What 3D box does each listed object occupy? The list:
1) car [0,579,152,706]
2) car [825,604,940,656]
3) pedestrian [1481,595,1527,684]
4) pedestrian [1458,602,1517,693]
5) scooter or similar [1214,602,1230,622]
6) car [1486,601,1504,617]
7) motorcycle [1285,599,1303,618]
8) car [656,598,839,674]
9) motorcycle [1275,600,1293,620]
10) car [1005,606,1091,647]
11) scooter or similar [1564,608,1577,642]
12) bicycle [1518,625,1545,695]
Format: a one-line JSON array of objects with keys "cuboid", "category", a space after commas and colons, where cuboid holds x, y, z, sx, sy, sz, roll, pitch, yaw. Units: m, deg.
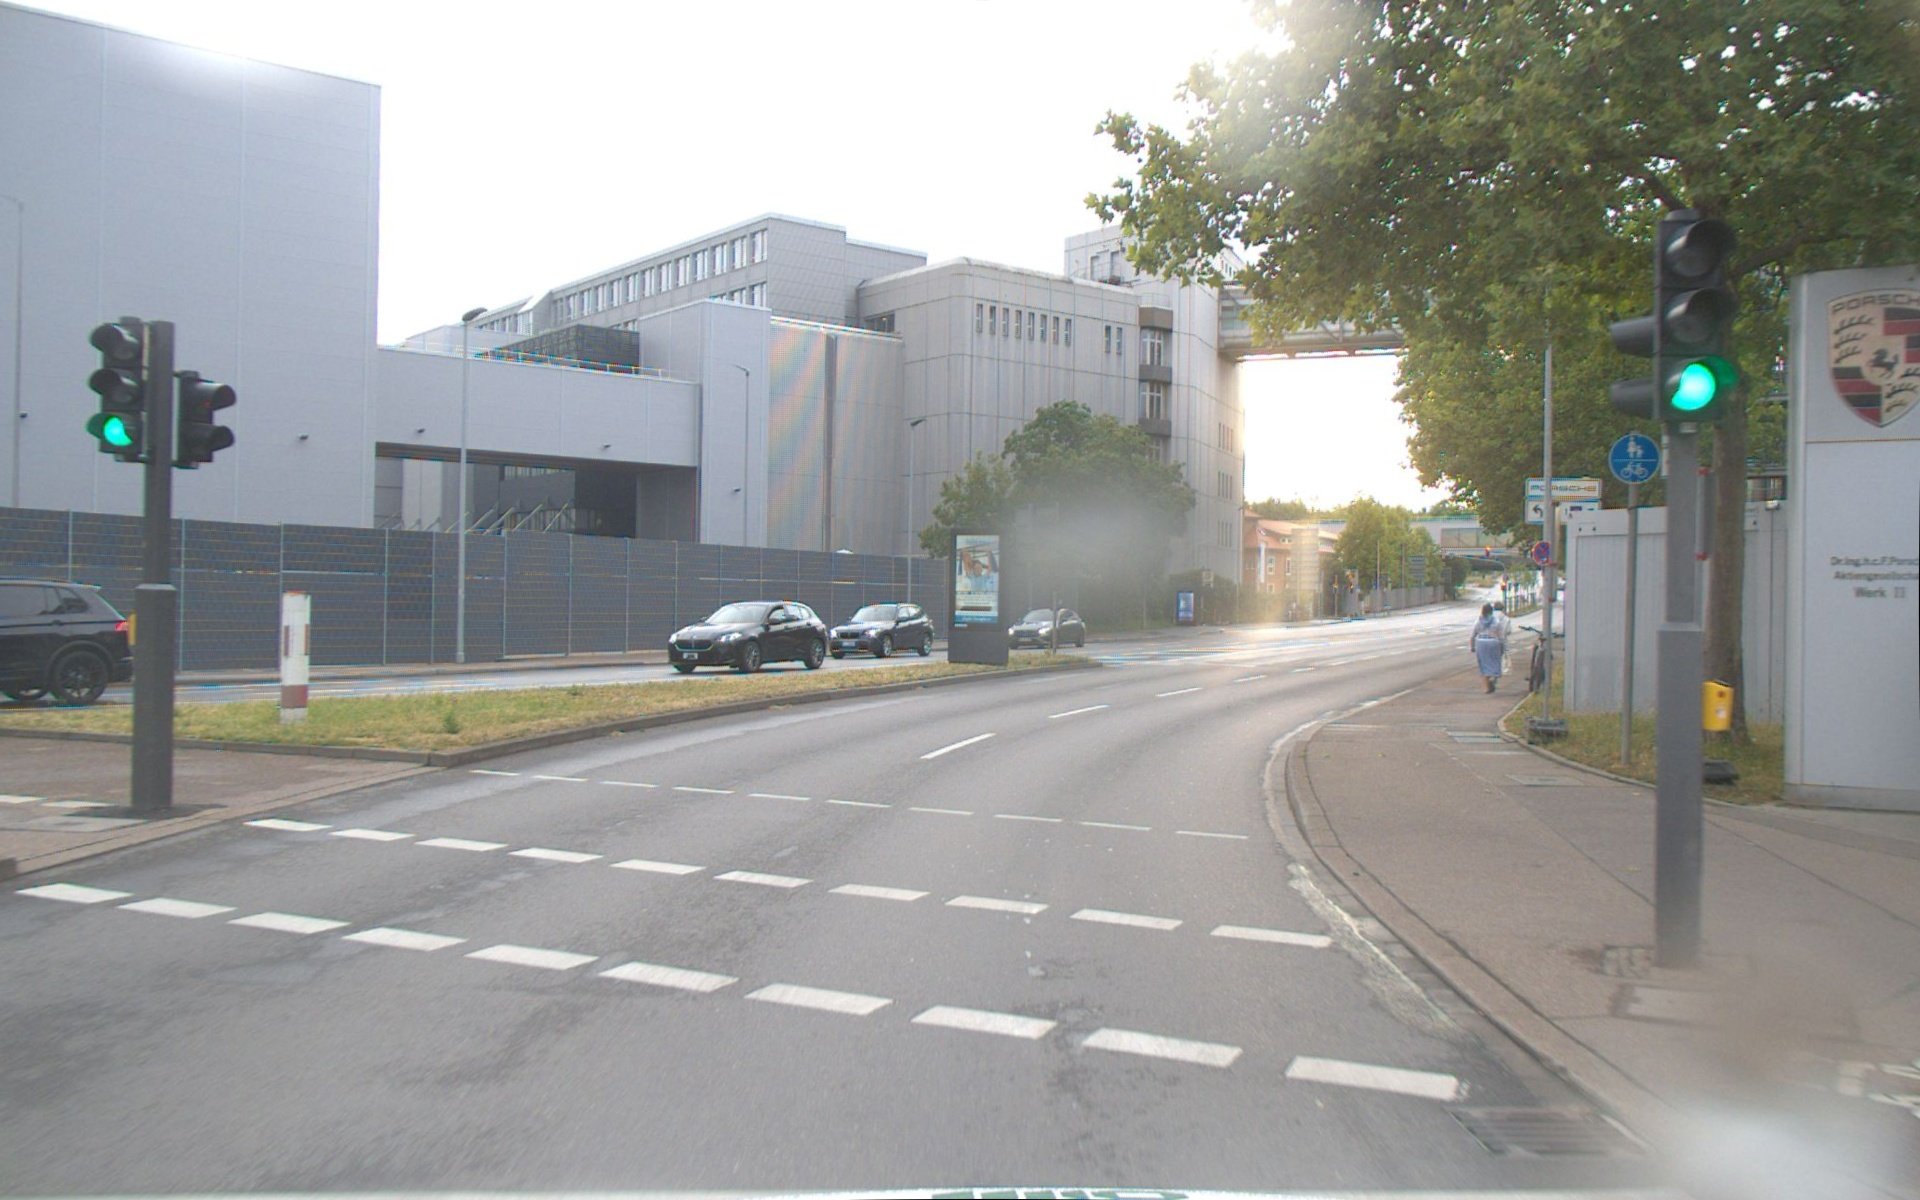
[{"cuboid": [-13.090, 0.529, 21.299, 1.753, 1.616, 4.547, 1, 0, 37], "category": "car"}, {"cuboid": [-2.219, 0.861, 48.709, 1.746, 1.480, 4.561, -1, -1, 21], "category": "car"}, {"cuboid": [10.126, 0.718, 30.774, 0.695, 1.620, 0.839, 1, 0, 27], "category": "pedestrian"}, {"cuboid": [9.204, 0.814, 28.872, 0.816, 1.547, 0.840, 1, 0, 30], "category": "pedestrian"}, {"cuboid": [17.173, 0.781, 108.291, 0.514, 1.274, 1.797, 0, 0, 27], "category": "scooter or similar"}, {"cuboid": [61.678, 0.991, 190.644, 1.952, 1.803, 4.001, 1, 0, 19], "category": "car"}, {"cuboid": [27.353, 0.682, 135.499, 0.939, 1.583, 3.300, 0, 0, 20], "category": "motorcycle"}, {"cuboid": [-4.414, 0.720, 35.043, 1.747, 1.465, 4.392, 1, 0, 25], "category": "car"}, {"cuboid": [25.734, 0.756, 131.412, 0.894, 1.559, 3.300, 0, 0, 20], "category": "motorcycle"}, {"cuboid": [3.269, 0.952, 60.809, 1.746, 1.409, 4.545, -2, -1, 22], "category": "car"}, {"cuboid": [23.680, 0.974, 64.110, 0.425, 1.292, 1.194, 0, 0, 22], "category": "scooter or similar"}, {"cuboid": [9.882, 1.015, 28.628, 0.334, 1.138, 1.974, 1, 0, 16], "category": "bicycle"}]
